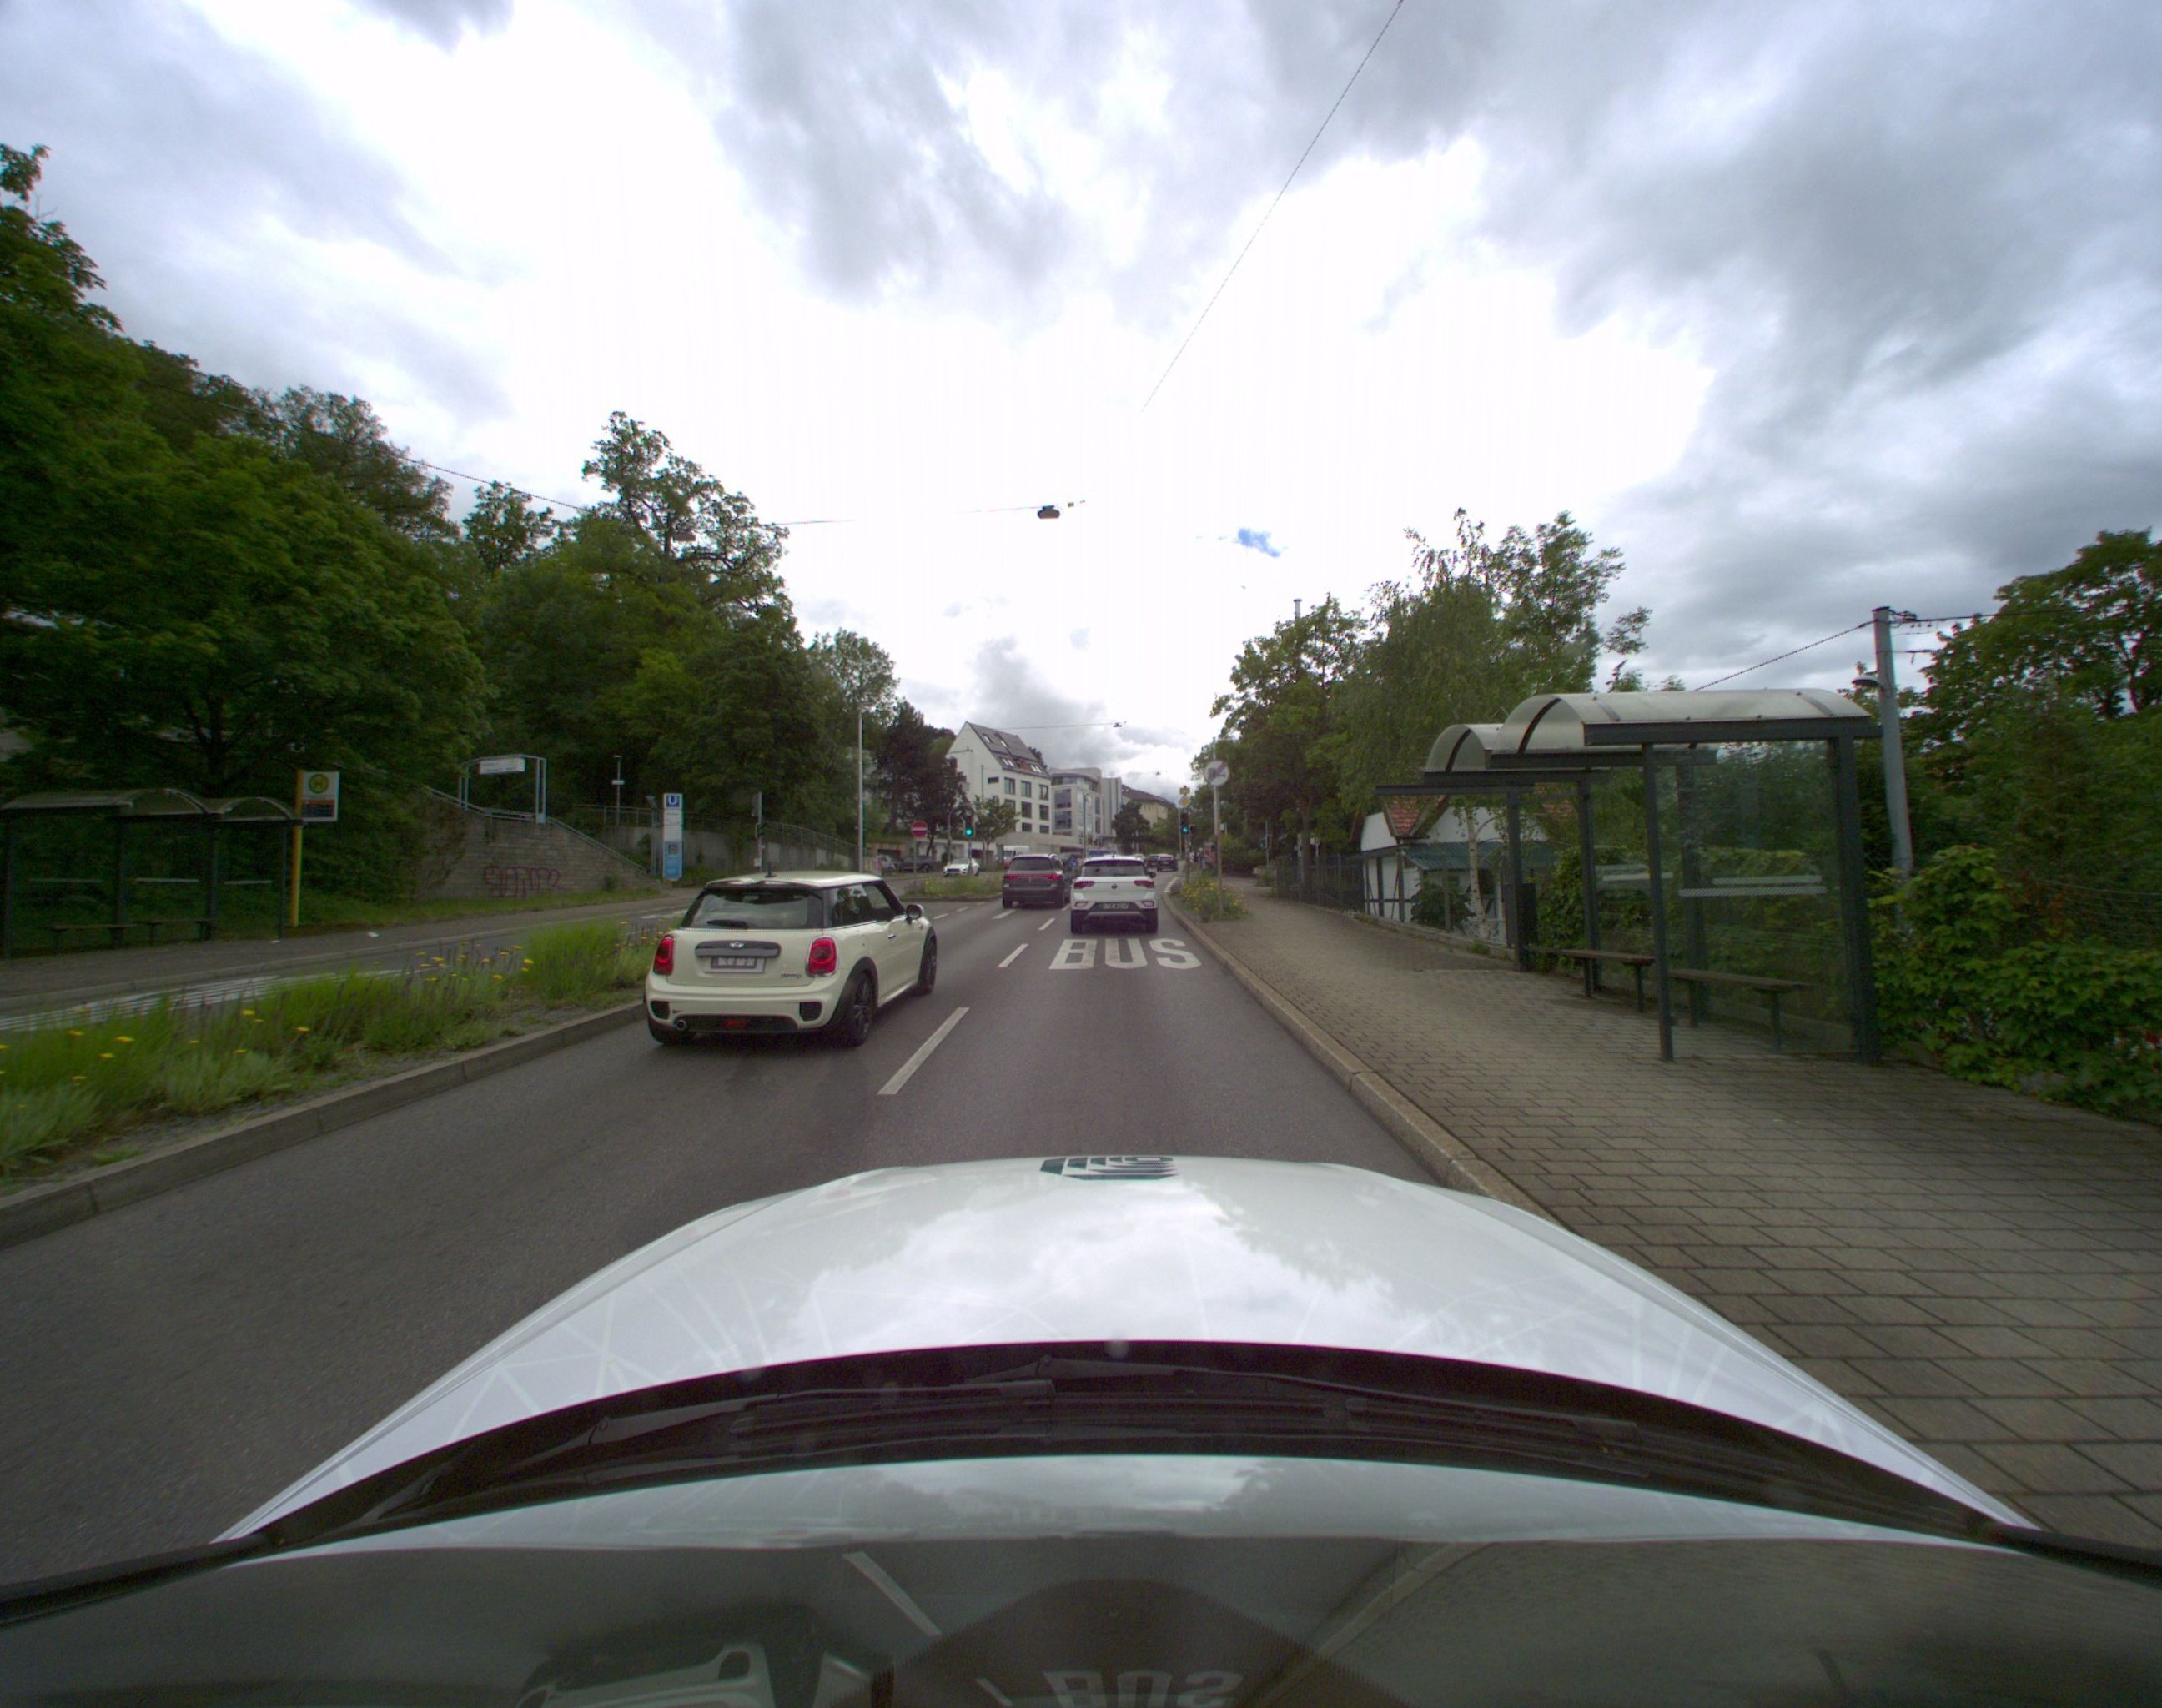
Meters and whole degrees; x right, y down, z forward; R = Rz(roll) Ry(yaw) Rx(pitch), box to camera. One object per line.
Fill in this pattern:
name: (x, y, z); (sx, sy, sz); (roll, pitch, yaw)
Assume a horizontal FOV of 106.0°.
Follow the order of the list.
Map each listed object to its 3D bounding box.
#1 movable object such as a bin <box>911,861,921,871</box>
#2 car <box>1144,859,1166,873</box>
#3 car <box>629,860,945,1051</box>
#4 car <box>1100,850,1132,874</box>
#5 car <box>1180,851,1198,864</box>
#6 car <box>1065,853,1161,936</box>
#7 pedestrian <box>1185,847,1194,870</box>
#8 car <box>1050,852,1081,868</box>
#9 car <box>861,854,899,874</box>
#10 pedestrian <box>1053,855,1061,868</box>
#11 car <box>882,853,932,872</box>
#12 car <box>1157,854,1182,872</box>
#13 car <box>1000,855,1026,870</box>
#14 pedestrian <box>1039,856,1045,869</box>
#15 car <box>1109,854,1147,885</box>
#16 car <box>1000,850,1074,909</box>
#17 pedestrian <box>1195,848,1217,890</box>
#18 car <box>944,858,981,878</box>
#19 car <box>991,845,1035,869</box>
movable object such as a bin: (-15.787, 1.136, 77.918); (0.633, 1.012, 0.735); (0, -1, 38)
car: (8.231, 1.305, 89.969); (1.845, 1.500, 4.069); (-2, 0, 12)
car: (-2.546, 0.785, 7.991); (1.621, 1.393, 3.568); (-2, 0, 3)
car: (2.631, 0.549, 59.944); (1.847, 1.652, 4.647); (-2, 0, 8)
car: (13.466, 0.423, 101.082); (1.845, 1.500, 4.070); (-2, 0, 13)
car: (0.646, 0.779, 17.542); (1.805, 1.539, 3.689); (-2, 0, 0)
pedestrian: (8.679, 0.328, 65.409); (0.689, 1.834, 0.621); (0, 0, 9)
car: (-1.993, 0.806, 106.240); (1.965, 1.967, 5.247); (-1, 0, 23)
car: (-16.327, 0.830, 66.146); (2.712, 1.520, 1.553); (2, -1, -22)
pedestrian: (-3.163, 0.956, 107.224); (0.678, 1.640, 0.665); (1, 0, -31)
car: (-15.064, 0.749, 70.809); (4.117, 1.540, 1.594); (-1, 0, -9)
car: (8.349, 0.847, 76.659); (1.860, 1.501, 4.570); (2, 0, 12)
car: (-7.165, 0.887, 86.048); (1.610, 1.465, 3.941); (-1, 0, 14)
pedestrian: (-5.022, 1.034, 104.769); (0.620, 1.640, 0.676); (1, 0, 24)
car: (2.636, 0.804, 44.426); (1.864, 1.501, 4.562); (2, 0, 5)
car: (-1.282, 0.752, 25.814); (1.805, 1.652, 4.640); (-2, 0, 3)
pedestrian: (5.125, 0.630, 33.339); (0.687, 1.689, 0.623); (-3, -2, 23)
car: (-8.804, 1.029, 60.915); (1.709, 1.393, 4.616); (-1, 0, 5)
car: (-7.667, 0.340, 92.967); (2.213, 2.568, 7.456); (-1, 0, 18)
